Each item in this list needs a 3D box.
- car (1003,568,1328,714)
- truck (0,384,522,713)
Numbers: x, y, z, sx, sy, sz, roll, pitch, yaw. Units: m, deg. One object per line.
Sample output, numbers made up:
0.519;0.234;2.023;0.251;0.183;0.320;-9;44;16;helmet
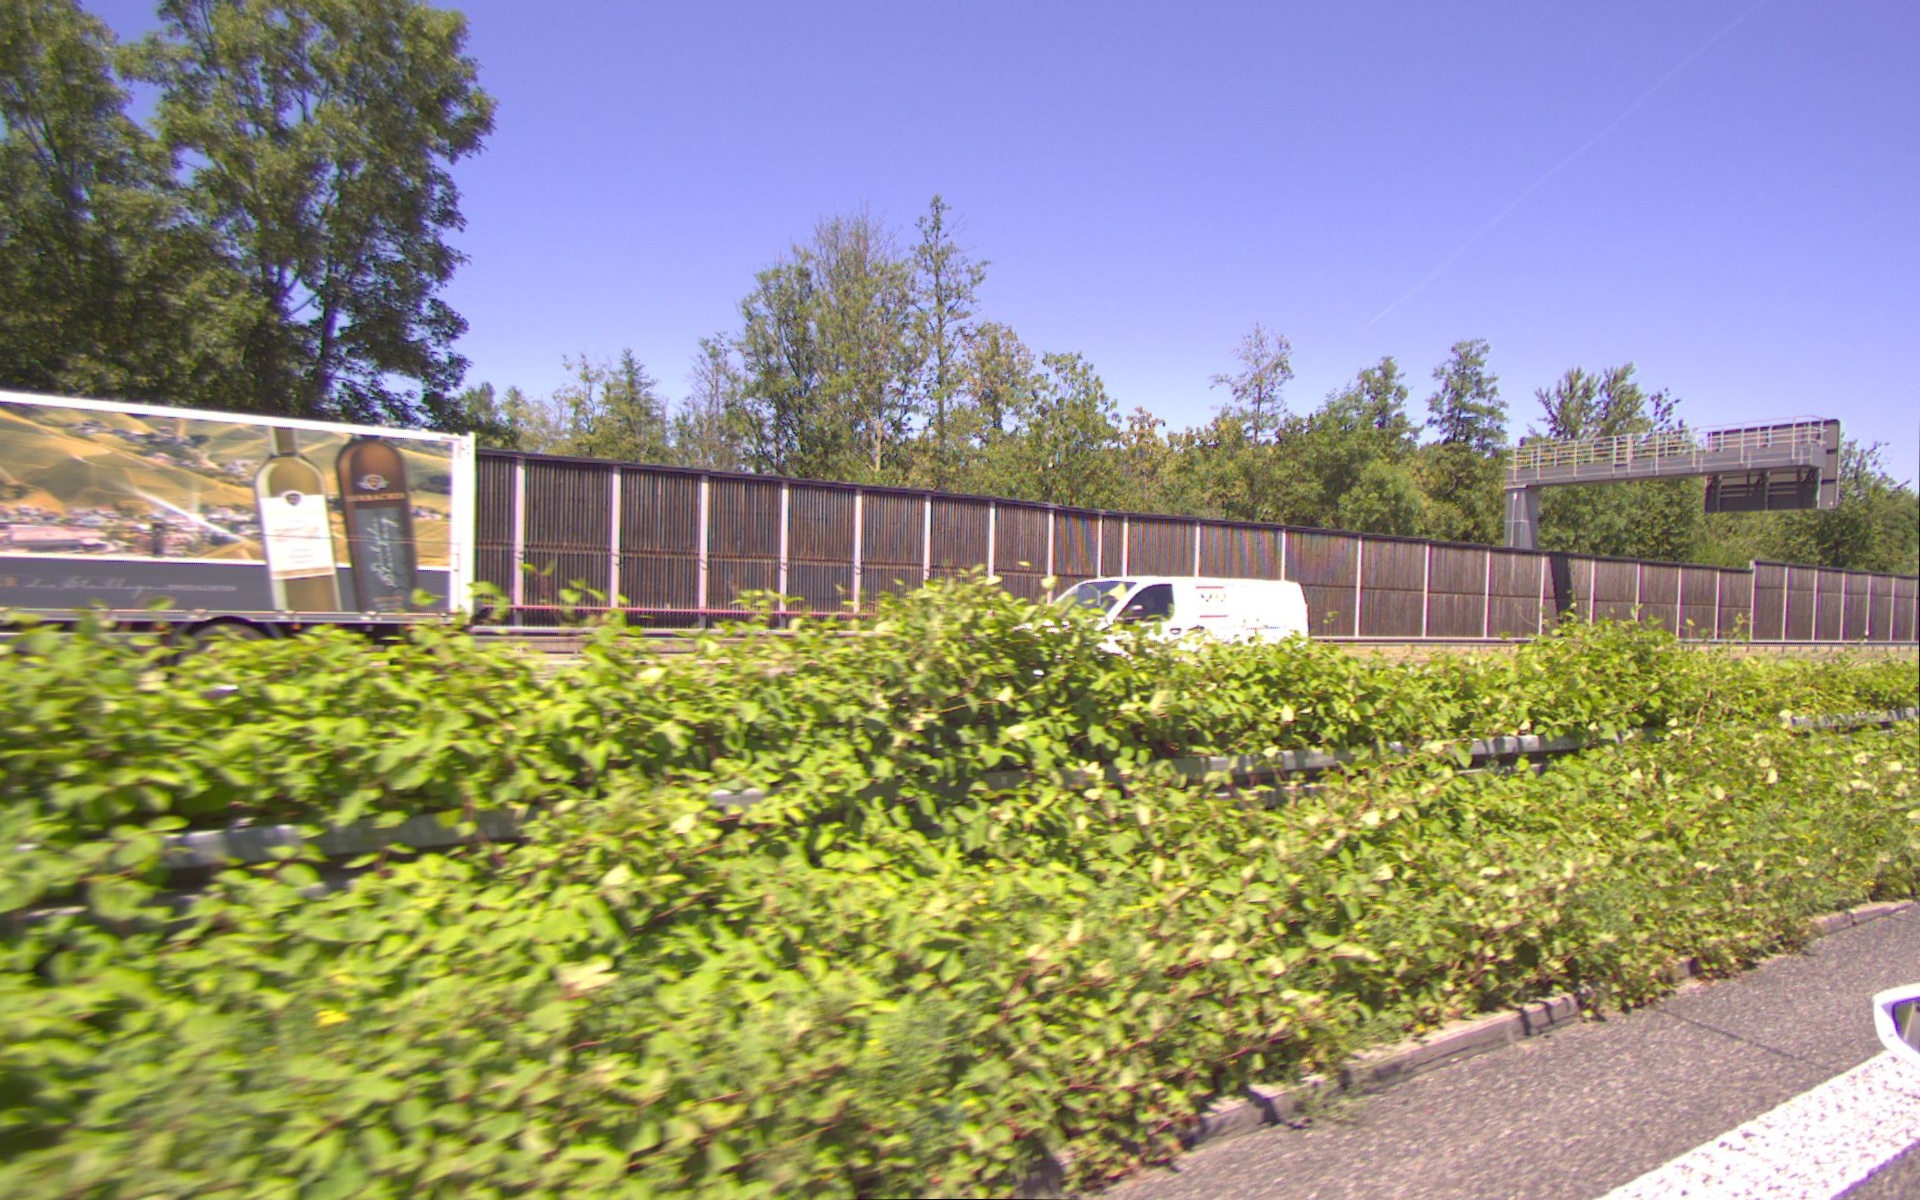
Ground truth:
3.363;0.630;16.118;5.041;2.040;1.984;2;0;-30;car
-11.025;-0.570;12.619;9.835;3.653;2.856;2;0;-30;truck
